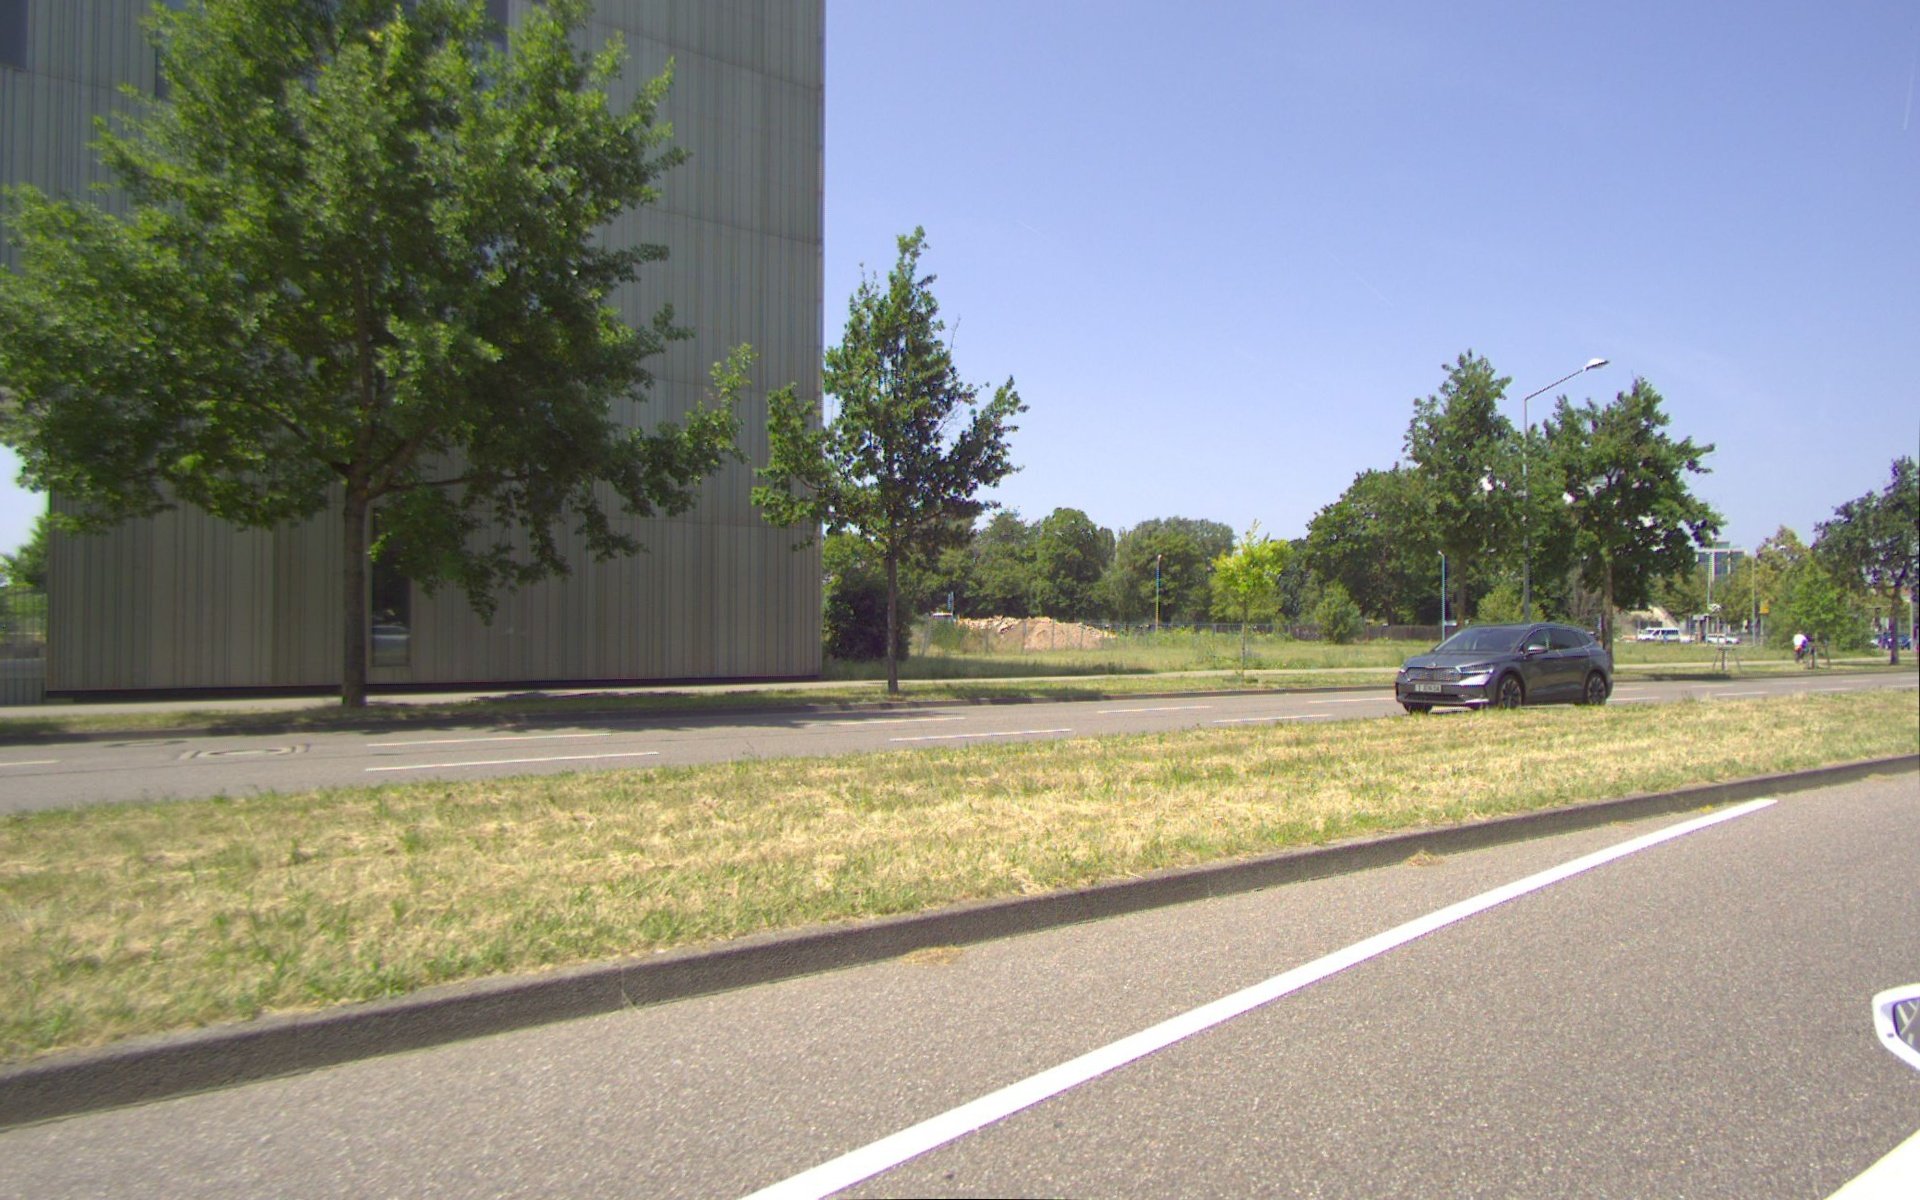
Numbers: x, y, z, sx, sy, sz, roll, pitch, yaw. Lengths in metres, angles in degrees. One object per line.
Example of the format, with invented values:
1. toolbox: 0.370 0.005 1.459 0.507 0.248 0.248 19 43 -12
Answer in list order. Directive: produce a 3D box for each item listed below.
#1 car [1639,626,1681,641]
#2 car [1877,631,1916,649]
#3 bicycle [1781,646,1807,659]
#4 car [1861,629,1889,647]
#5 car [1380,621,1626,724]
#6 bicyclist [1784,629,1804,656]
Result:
1. car: 93.249 4.438 133.863 4.206 1.903 2.000 1 -1 -2
2. car: 85.938 3.661 92.181 1.966 1.617 3.989 0 -2 34
3. bicycle: 47.352 2.993 57.015 1.827 0.725 0.479 1 -1 -28
4. car: 95.047 3.930 104.334 1.970 1.840 3.980 -1 -2 40
5. car: 9.747 1.219 17.950 4.482 1.632 1.883 1 -2 -31
6. bicyclist: 47.304 2.410 56.986 0.747 1.509 0.621 1 -1 -28
